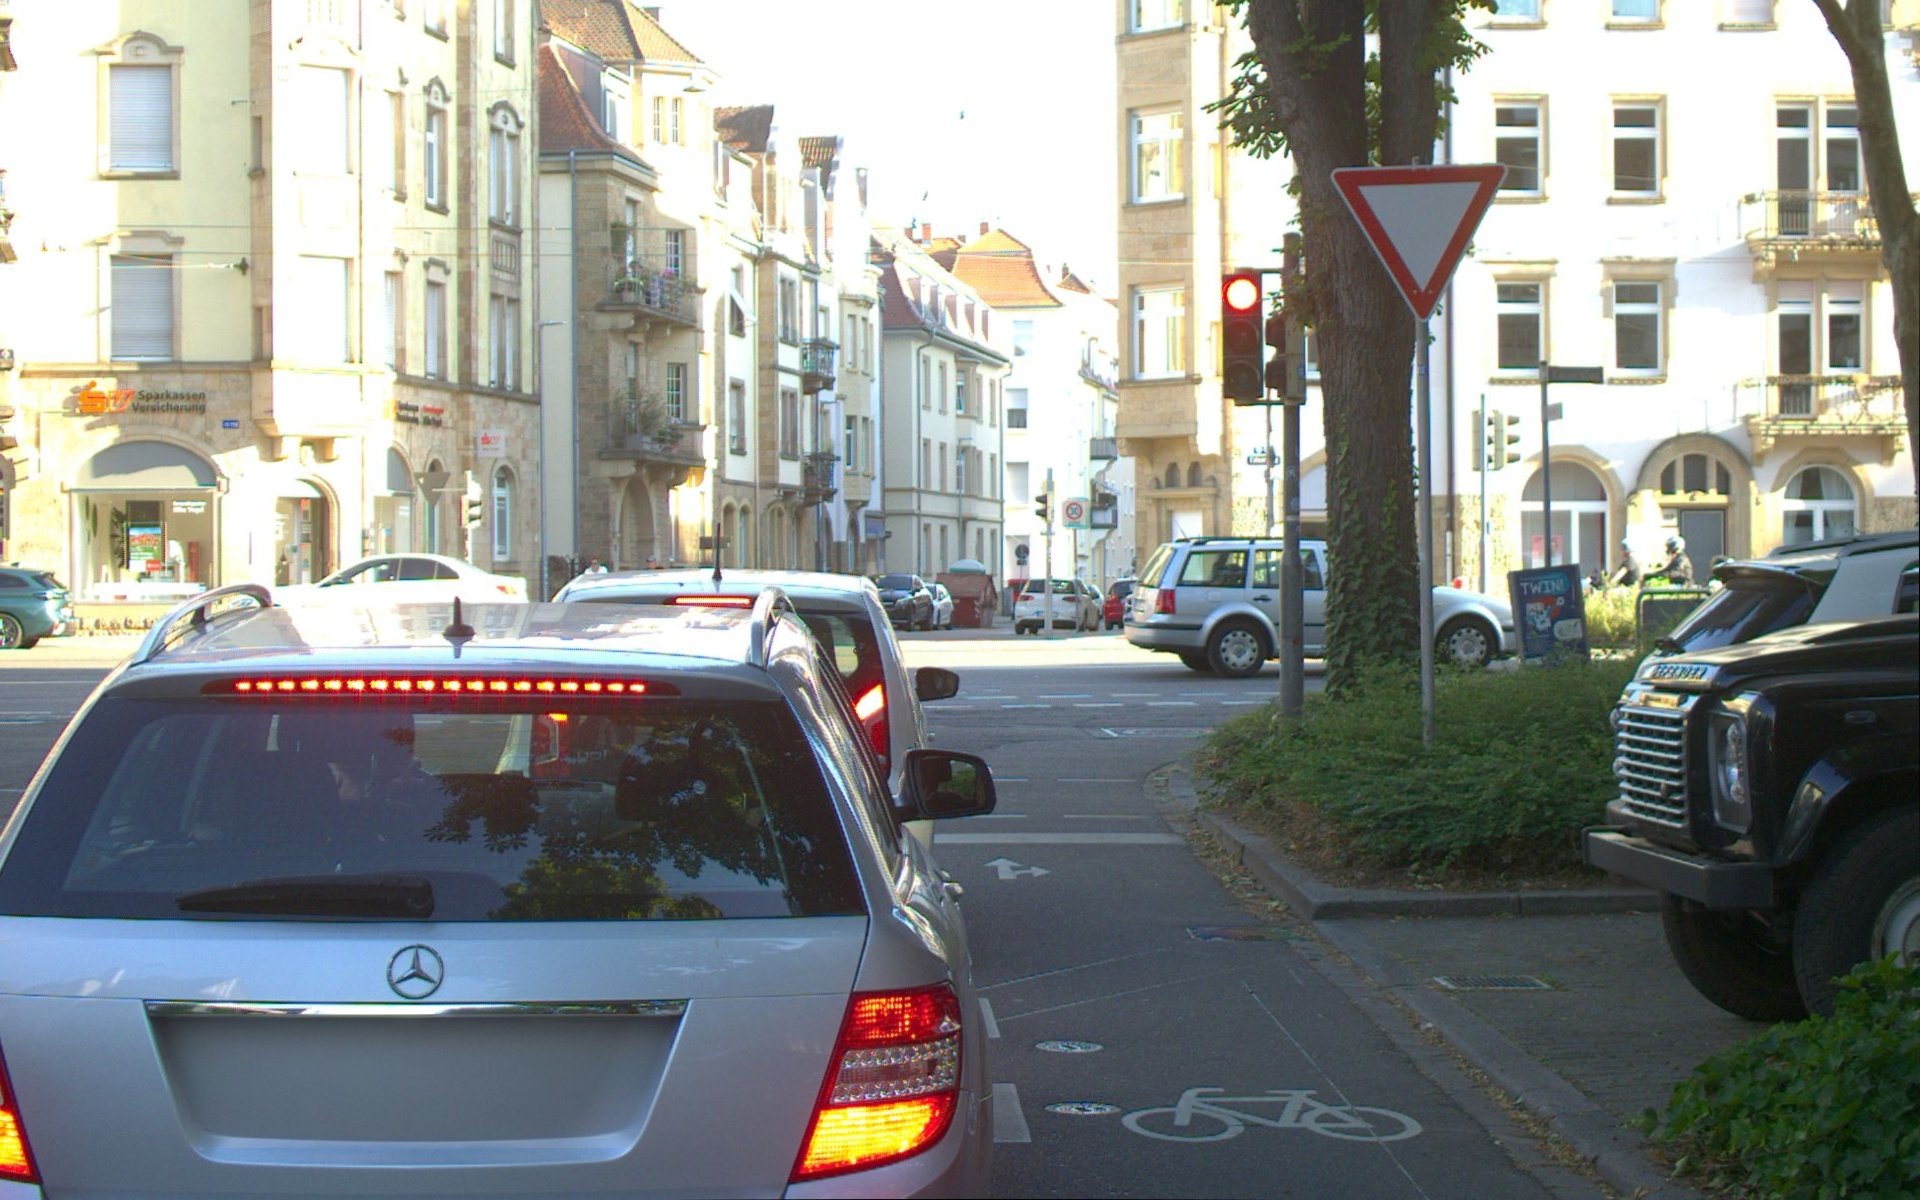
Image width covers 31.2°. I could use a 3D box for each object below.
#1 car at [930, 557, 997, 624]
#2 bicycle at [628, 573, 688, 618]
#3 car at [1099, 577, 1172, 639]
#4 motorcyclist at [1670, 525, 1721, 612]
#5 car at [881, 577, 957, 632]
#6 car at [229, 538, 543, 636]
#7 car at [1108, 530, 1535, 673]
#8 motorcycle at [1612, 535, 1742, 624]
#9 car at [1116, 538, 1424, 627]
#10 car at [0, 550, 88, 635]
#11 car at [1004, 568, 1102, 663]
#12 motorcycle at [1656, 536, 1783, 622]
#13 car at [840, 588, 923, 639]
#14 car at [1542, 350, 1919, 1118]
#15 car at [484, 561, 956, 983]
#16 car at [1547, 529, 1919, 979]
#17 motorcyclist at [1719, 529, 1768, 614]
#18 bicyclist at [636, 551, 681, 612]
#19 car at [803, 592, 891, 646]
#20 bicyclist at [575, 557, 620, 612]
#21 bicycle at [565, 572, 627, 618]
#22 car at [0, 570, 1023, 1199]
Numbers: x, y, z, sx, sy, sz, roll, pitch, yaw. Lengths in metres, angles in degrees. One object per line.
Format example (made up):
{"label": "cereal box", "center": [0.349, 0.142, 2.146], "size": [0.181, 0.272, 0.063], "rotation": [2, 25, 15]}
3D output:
{"label": "car", "center": [0.137, -0.345, 117.349], "size": [1.787, 2.196, 3.999], "rotation": [0, 1, 8]}
{"label": "bicycle", "center": [-6.441, -0.099, 73.474], "size": [0.771, 0.931, 1.939], "rotation": [1, 1, 11]}
{"label": "car", "center": [5.224, 0.224, 101.931], "size": [1.835, 1.738, 3.999], "rotation": [0, 1, 8]}
{"label": "motorcyclist", "center": [12.250, -0.526, 57.260], "size": [0.681, 1.447, 0.568], "rotation": [-1, 1, -4]}
{"label": "car", "center": [-1.273, 0.125, 108.761], "size": [1.835, 1.657, 3.999], "rotation": [0, 1, 8]}
{"label": "car", "center": [-8.865, -0.212, 53.419], "size": [4.702, 1.455, 1.837], "rotation": [0, 1, -6]}
{"label": "car", "center": [3.892, -0.006, 37.353], "size": [4.344, 1.491, 1.662], "rotation": [0, 1, -7]}
{"label": "motorcycle", "center": [11.932, -0.343, 57.235], "size": [2.033, 1.447, 0.568], "rotation": [-1, 1, -4]}
{"label": "car", "center": [5.137, -0.300, 57.346], "size": [4.883, 1.447, 1.859], "rotation": [0, 1, -4]}
{"label": "car", "center": [-16.417, -0.121, 55.694], "size": [4.220, 1.344, 1.665], "rotation": [0, 1, -6]}
{"label": "car", "center": [2.347, 0.358, 85.899], "size": [2.031, 2.272, 3.999], "rotation": [0, 1, 8]}
{"label": "motorcycle", "center": [12.941, -0.363, 58.593], "size": [2.033, 1.447, 0.568], "rotation": [-1, 1, -4]}
{"label": "car", "center": [-2.318, 0.401, 102.532], "size": [1.835, 1.397, 3.999], "rotation": [0, 1, 8]}
{"label": "car", "center": [4.138, 0.302, 10.121], "size": [4.465, 2.029, 1.701], "rotation": [-1, 0, -3]}
{"label": "car", "center": [-0.912, 0.571, 14.051], "size": [1.619, 1.442, 4.345], "rotation": [0, 1, -2]}
{"label": "car", "center": [4.293, 0.502, 13.091], "size": [3.723, 1.564, 1.709], "rotation": [-1, 0, -4]}
{"label": "motorcyclist", "center": [13.356, -0.488, 58.610], "size": [0.681, 1.447, 0.568], "rotation": [-1, 1, -4]}
{"label": "bicyclist", "center": [-6.439, -0.391, 73.470], "size": [0.771, 1.285, 0.752], "rotation": [1, 1, 11]}
{"label": "car", "center": [-3.153, 0.529, 97.041], "size": [1.835, 1.397, 3.999], "rotation": [0, 1, 8]}
{"label": "bicyclist", "center": [-7.746, -0.330, 73.461], "size": [0.771, 1.152, 0.752], "rotation": [1, 1, 11]}
{"label": "bicycle", "center": [-7.764, -0.108, 73.386], "size": [0.771, 0.936, 1.939], "rotation": [1, 1, 11]}
{"label": "car", "center": [-0.895, 0.681, 6.961], "size": [1.777, 1.447, 4.548], "rotation": [0, 1, -2]}
